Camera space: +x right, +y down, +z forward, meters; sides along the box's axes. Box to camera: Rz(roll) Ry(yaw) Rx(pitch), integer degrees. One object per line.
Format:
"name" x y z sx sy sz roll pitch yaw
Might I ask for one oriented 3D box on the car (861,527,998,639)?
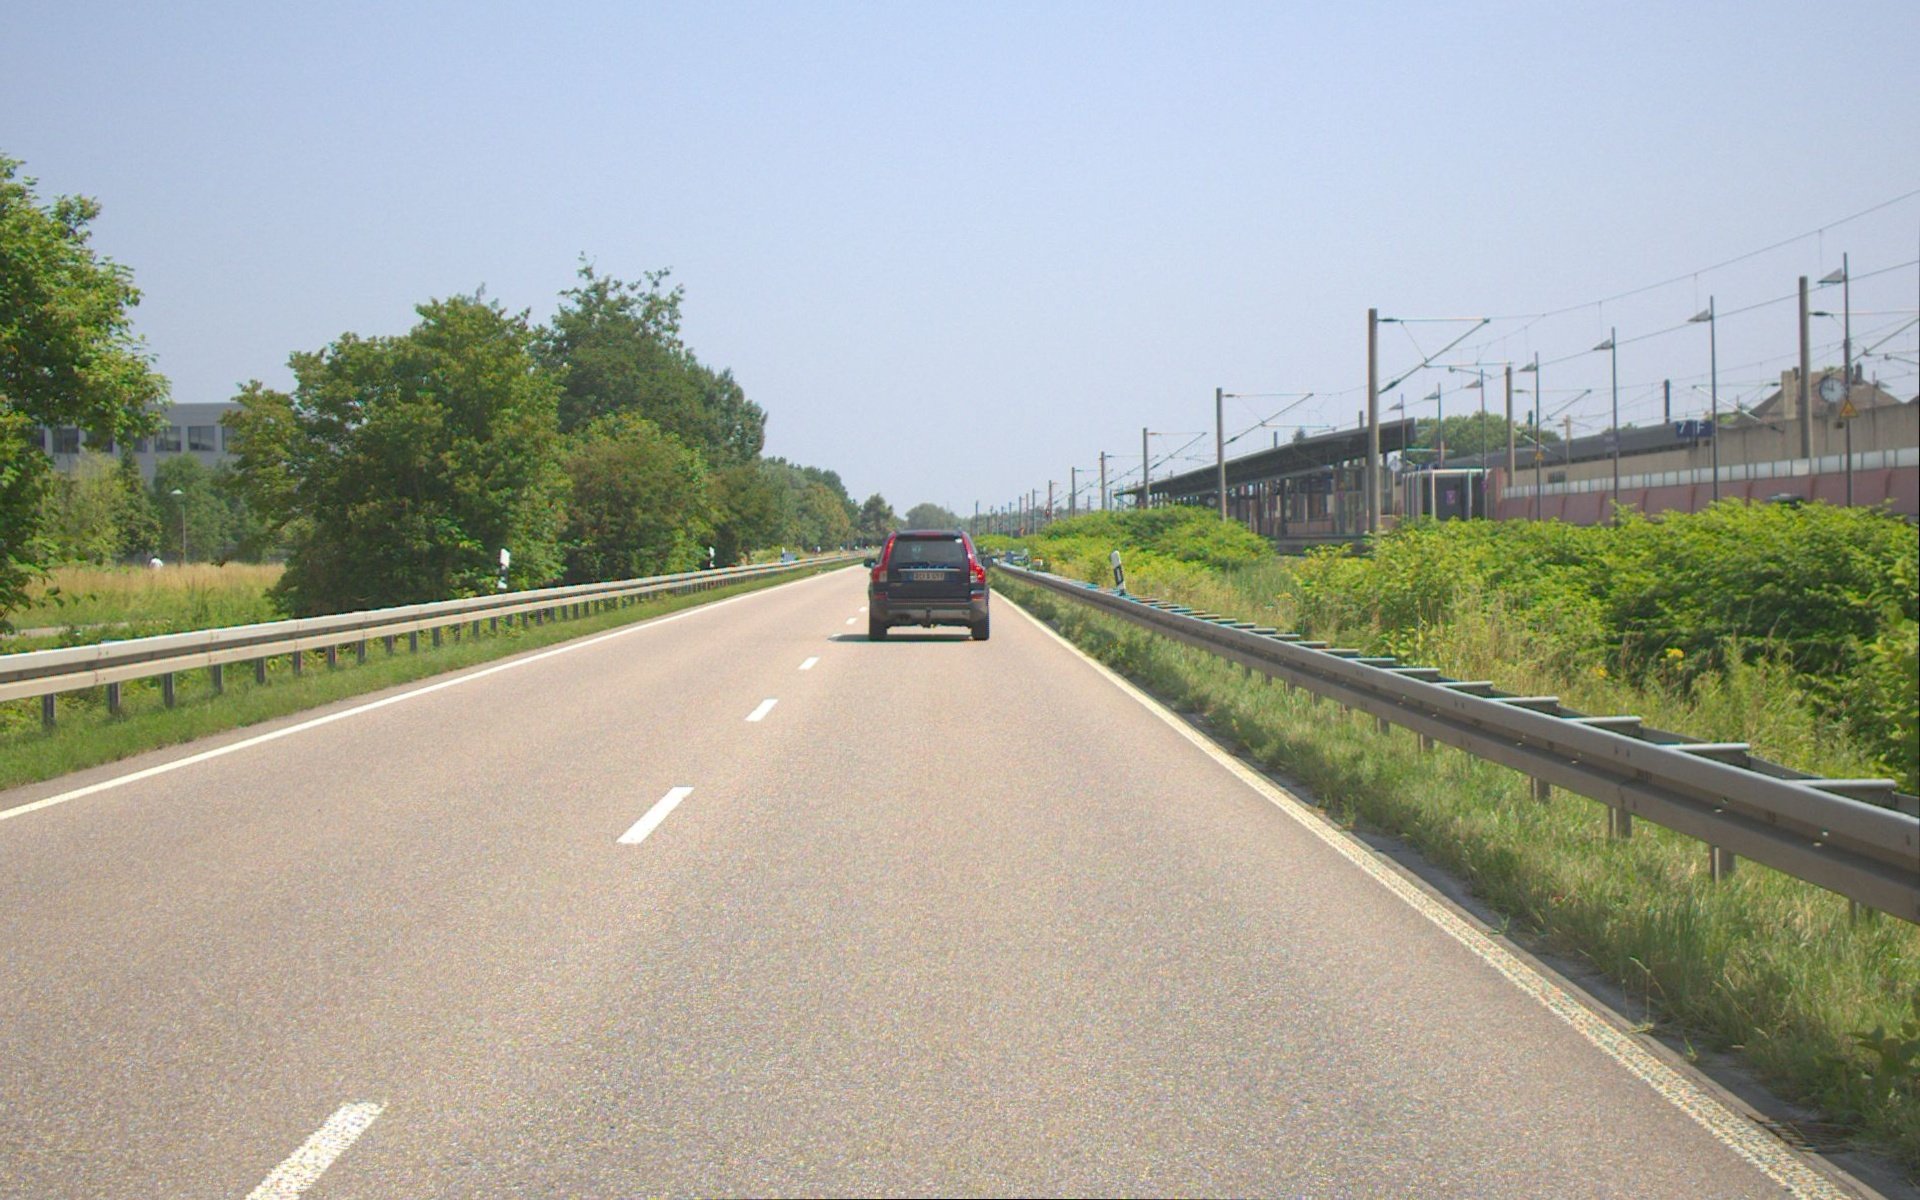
"car" -0.521 -0.297 54.350 1.993 1.694 4.001 0 1 -3
